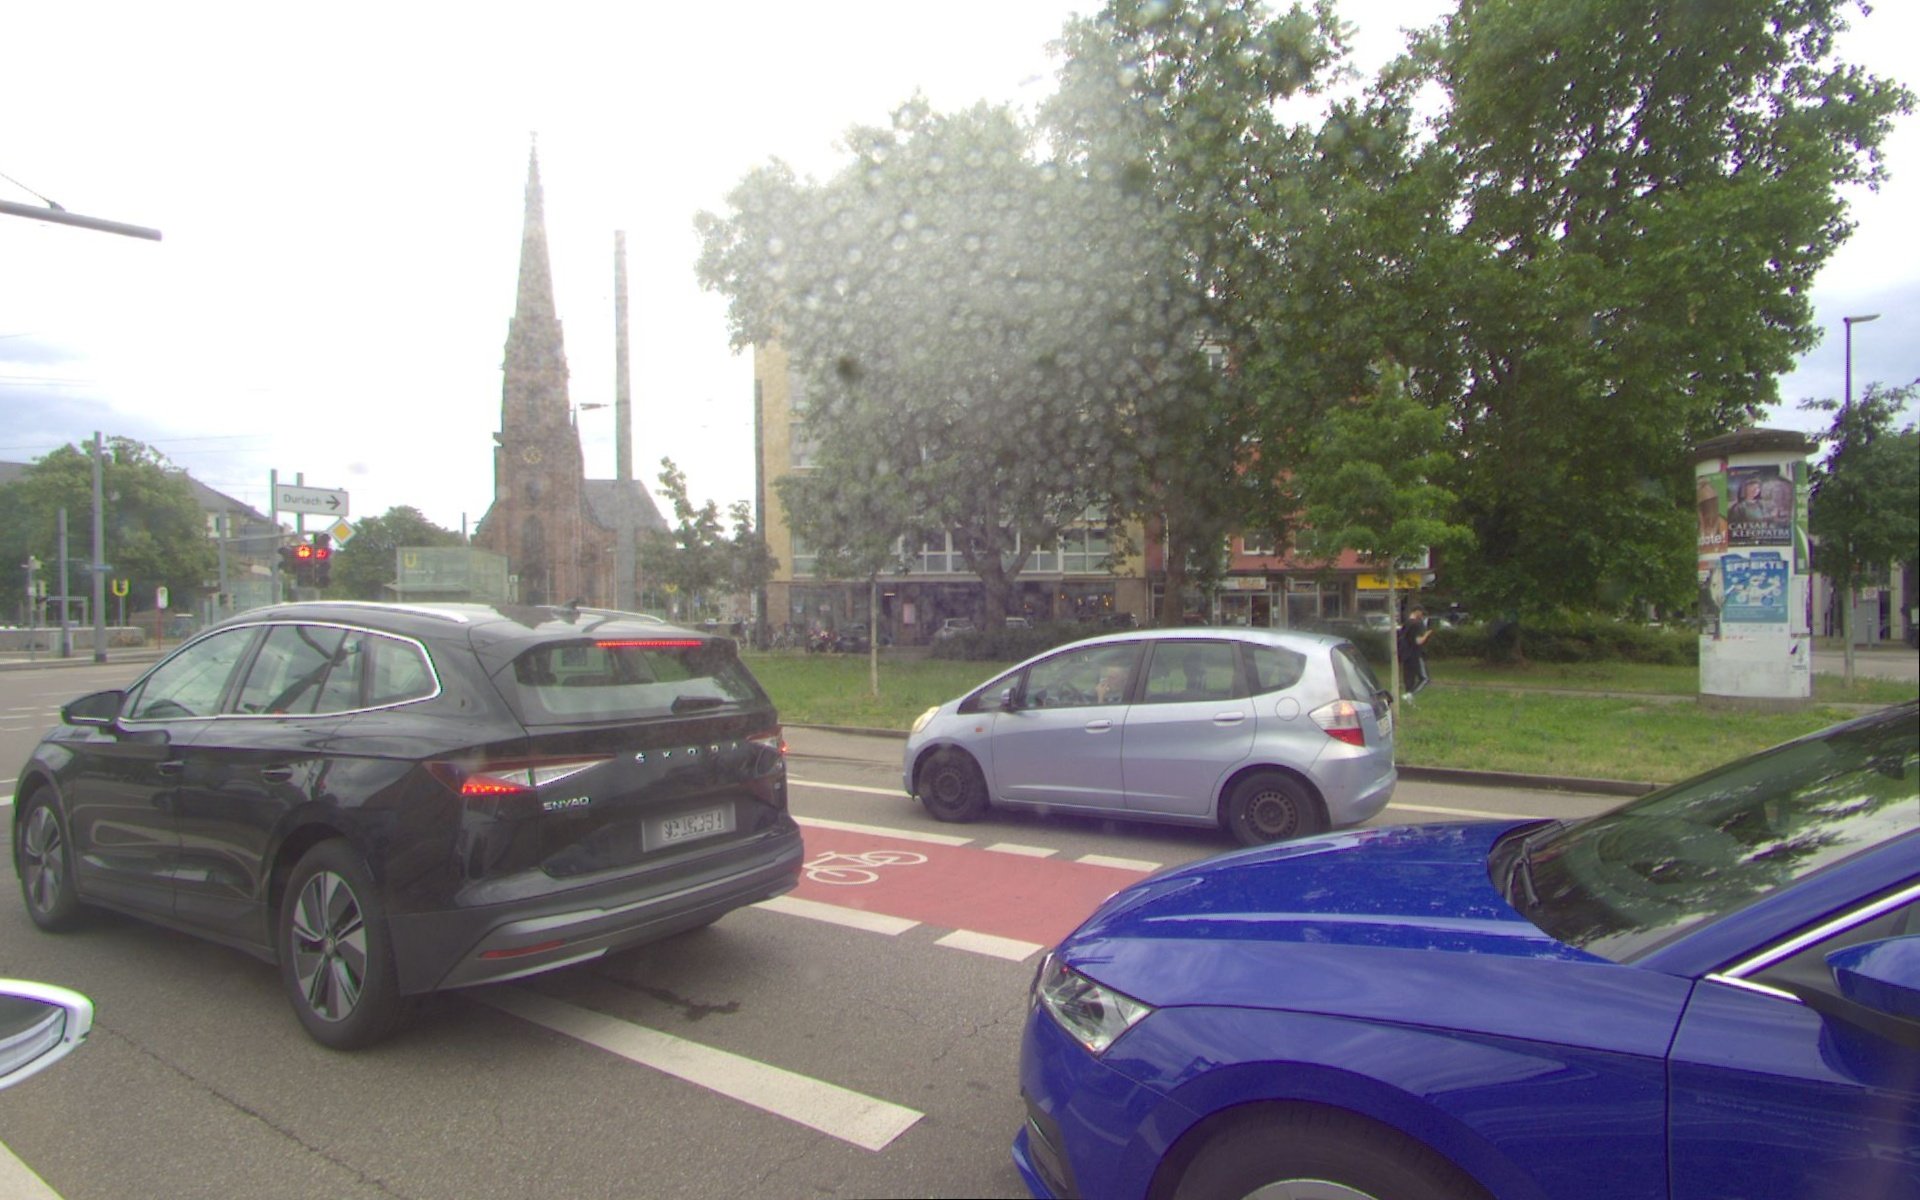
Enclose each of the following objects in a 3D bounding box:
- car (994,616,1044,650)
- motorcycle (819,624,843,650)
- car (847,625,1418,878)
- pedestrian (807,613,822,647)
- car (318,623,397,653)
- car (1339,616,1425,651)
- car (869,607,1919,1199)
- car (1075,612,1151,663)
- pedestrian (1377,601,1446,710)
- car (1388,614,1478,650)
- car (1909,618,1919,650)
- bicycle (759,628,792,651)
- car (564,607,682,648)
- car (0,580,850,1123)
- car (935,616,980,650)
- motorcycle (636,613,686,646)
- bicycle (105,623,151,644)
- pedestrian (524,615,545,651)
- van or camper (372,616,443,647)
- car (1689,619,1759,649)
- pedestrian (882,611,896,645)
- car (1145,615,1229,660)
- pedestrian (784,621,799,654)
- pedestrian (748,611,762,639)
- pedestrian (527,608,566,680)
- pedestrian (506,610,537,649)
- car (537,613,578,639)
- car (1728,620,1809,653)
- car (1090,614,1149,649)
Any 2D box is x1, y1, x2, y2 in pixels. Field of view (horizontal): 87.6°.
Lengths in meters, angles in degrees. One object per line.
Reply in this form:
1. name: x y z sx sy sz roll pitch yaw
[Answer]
1. car: 2.664 1.499 46.207 1.825 1.509 4.476 0 -1 -3
2. motorcycle: -5.109 1.457 39.511 0.858 1.010 1.014 0 -1 -12
3. car: 1.247 0.949 7.790 4.039 1.486 1.746 -1 -1 32
4. pedestrian: -7.126 1.484 49.041 0.625 1.659 0.872 0 0 0
5. car: -32.296 2.021 53.839 1.740 1.483 4.001 -2 -1 1
6. car: 19.505 1.529 46.456 1.825 1.568 4.476 0 -1 -5
7. car: 2.138 0.760 1.672 4.402 1.508 1.776 -1 -1 32
8. car: 5.496 1.319 36.484 1.825 1.745 4.476 0 -1 -3
9. pedestrian: 7.876 0.957 17.491 0.968 1.868 0.536 0 0 -11
10. car: 21.971 1.466 46.692 1.825 1.568 4.476 0 -1 -5
11. car: 46.501 1.591 46.356 1.865 1.568 4.469 -2 -1 17
12. bicycle: -7.453 1.592 40.464 1.240 0.929 0.595 0 0 2
13. car: -18.103 1.474 53.949 5.674 2.039 2.011 -1 -1 -40
14. car: -2.844 0.792 4.909 4.444 1.617 1.774 -1 -1 31
15. car: -0.153 1.489 46.160 1.825 1.509 4.476 0 -1 -3
16. motorcycle: -11.119 1.085 37.341 0.753 1.183 2.385 0 -1 12
17. bicycle: -55.440 2.225 66.744 0.699 1.348 2.252 -2 -1 39
18. pedestrian: -19.642 1.526 46.239 0.625 1.659 0.872 0 0 -1
19. van or camper: -33.027 1.886 60.008 1.961 1.764 4.305 -2 -1 -3
20. car: 45.358 2.018 59.570 1.828 1.644 4.469 -2 -1 17
21. pedestrian: -3.555 1.395 50.123 0.625 1.659 0.872 0 0 0
22. car: 8.231 1.335 36.683 1.825 1.568 4.476 0 -1 -3
23. pedestrian: -8.517 1.870 50.515 0.625 1.659 0.872 0 0 -1
24. pedestrian: -11.942 1.447 58.349 0.771 1.659 0.637 0 0 -4
25. pedestrian: -11.398 1.200 27.646 0.874 1.956 1.016 0 0 -16
26. pedestrian: -21.006 1.425 47.985 1.066 1.820 0.947 -1 -1 -2
27. car: -32.566 2.047 81.051 1.961 2.040 4.000 0 -1 -5
28. car: 43.523 1.942 54.032 1.828 1.644 4.469 -2 -1 17
29. car: 7.377 1.454 46.704 1.825 1.568 4.476 0 -1 -3
